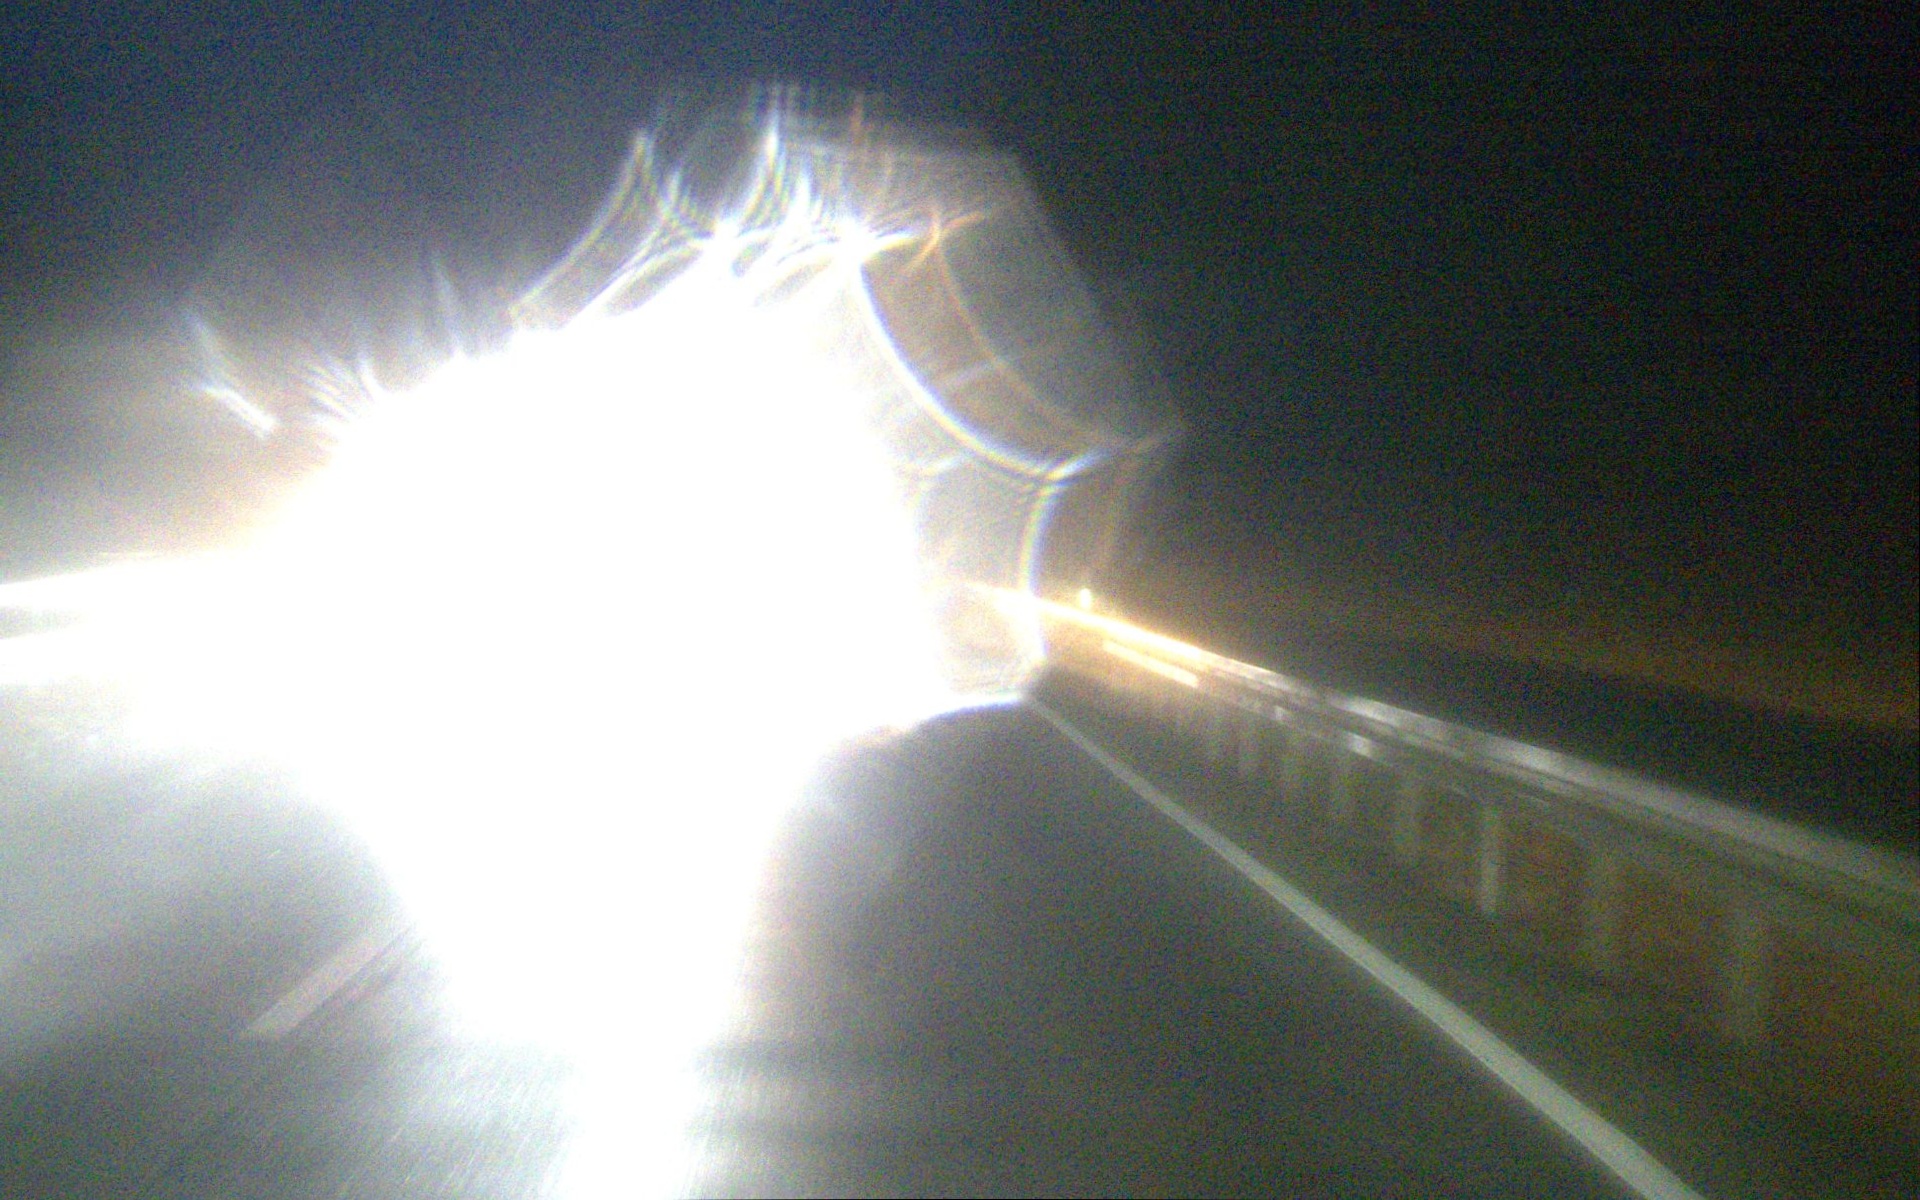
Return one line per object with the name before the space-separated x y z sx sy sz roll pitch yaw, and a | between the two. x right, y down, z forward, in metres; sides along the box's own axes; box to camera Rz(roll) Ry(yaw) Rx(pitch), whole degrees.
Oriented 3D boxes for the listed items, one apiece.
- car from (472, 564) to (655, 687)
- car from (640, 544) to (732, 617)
car | -4.655 0.275 40.865 1.805 1.334 4.189 2 0 -2
car | -6.096 -0.438 76.775 1.834 1.539 4.646 2 0 -2
